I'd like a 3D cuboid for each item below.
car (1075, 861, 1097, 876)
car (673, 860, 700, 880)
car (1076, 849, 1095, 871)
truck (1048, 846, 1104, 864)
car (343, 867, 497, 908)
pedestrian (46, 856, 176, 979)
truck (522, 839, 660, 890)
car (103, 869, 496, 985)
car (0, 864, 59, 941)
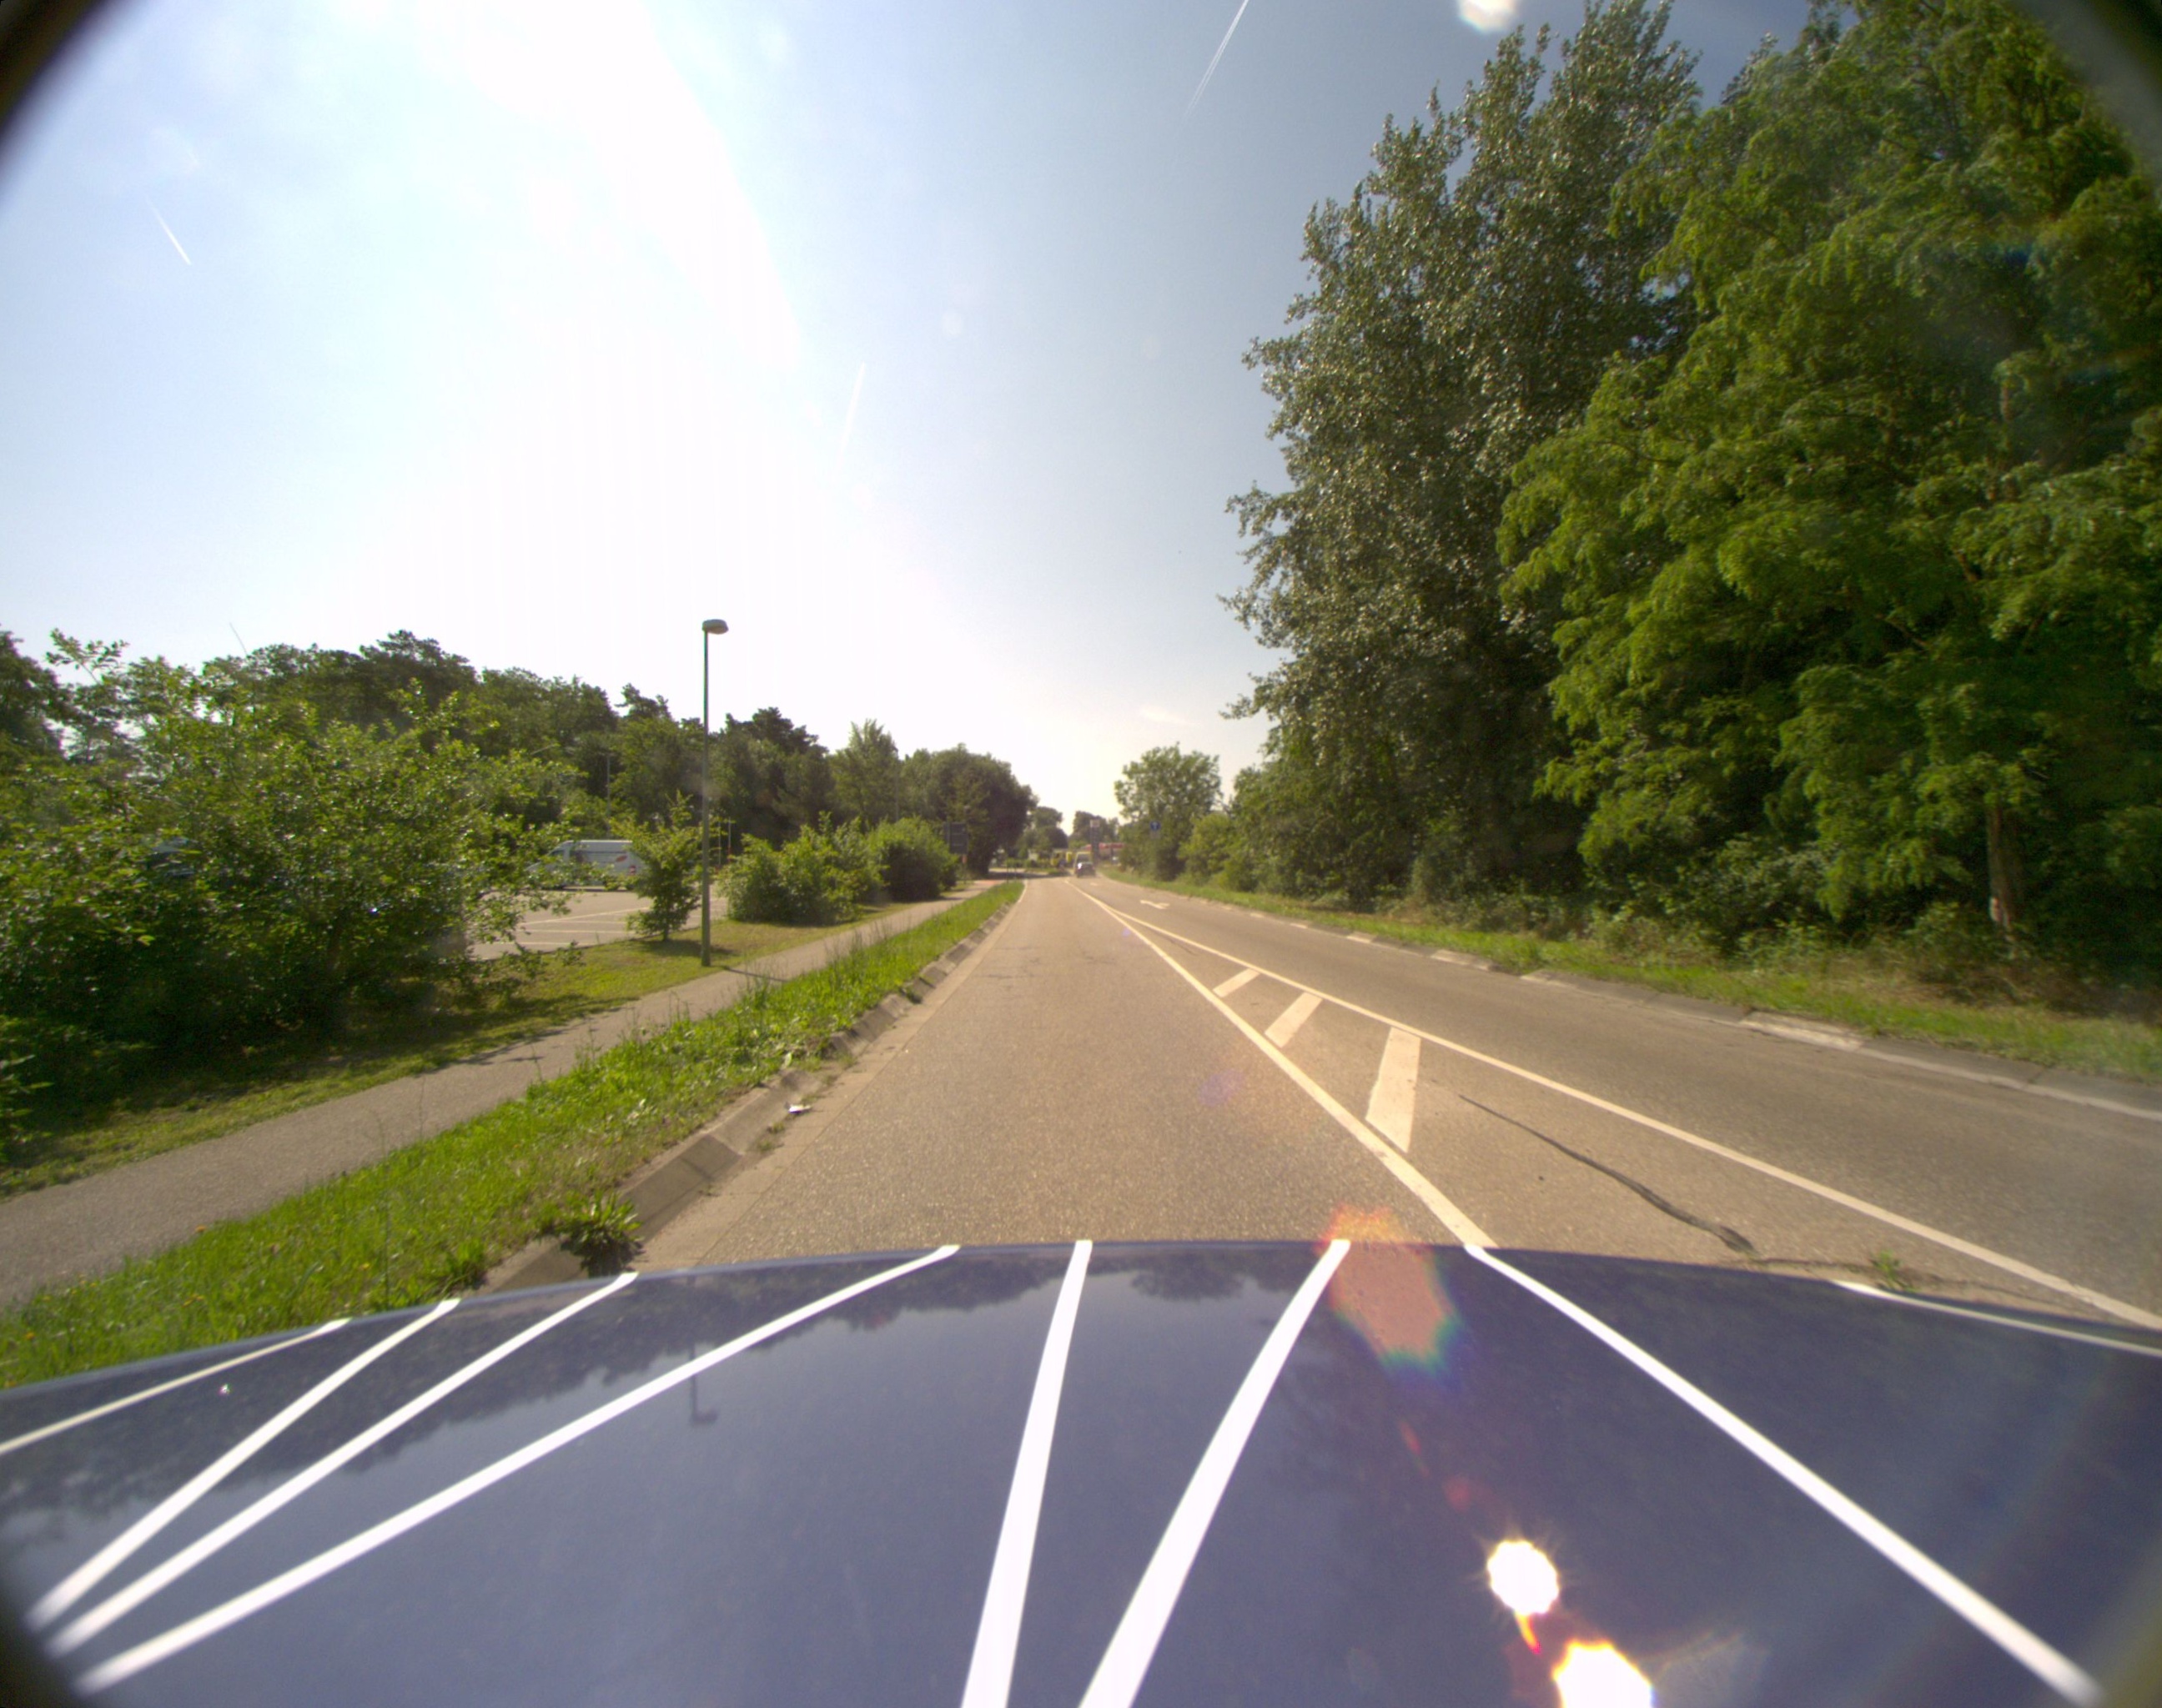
[{"bbox_3d":[0.407,1.321,70.555,1.703,1.381,4.292,-1,0,-4],"label":"car"},{"bbox_3d":[-31.681,1.272,60.988,1.763,1.522,4.363,0,0,-30],"label":"car"},{"bbox_3d":[0.501,0.699,88.082,1.917,2.386,4.908,-1,0,-4],"label":"car"},{"bbox_3d":[-1.001,0.122,143.185,10.337,3.374,3.883,0,0,-5],"label":"truck"},{"bbox_3d":[-24.907,1.228,28.788,3.976,1.444,1.902,0,0,-13],"label":"car"},{"bbox_3d":[-14.589,0.922,11.454,0.821,1.787,0.866,0,0,-1],"label":"pedestrian"},{"bbox_3d":[-25.333,0.534,39.449,5.615,2.590,2.202,0,0,-4],"label":"truck"},{"bbox_3d":[-11.734,1.059,11.644,4.130,1.618,1.752,0,0,-2],"label":"car"},{"bbox_3d":[-24.279,1.028,15.365,4.165,1.564,1.999,-1,0,-5],"label":"car"}]
